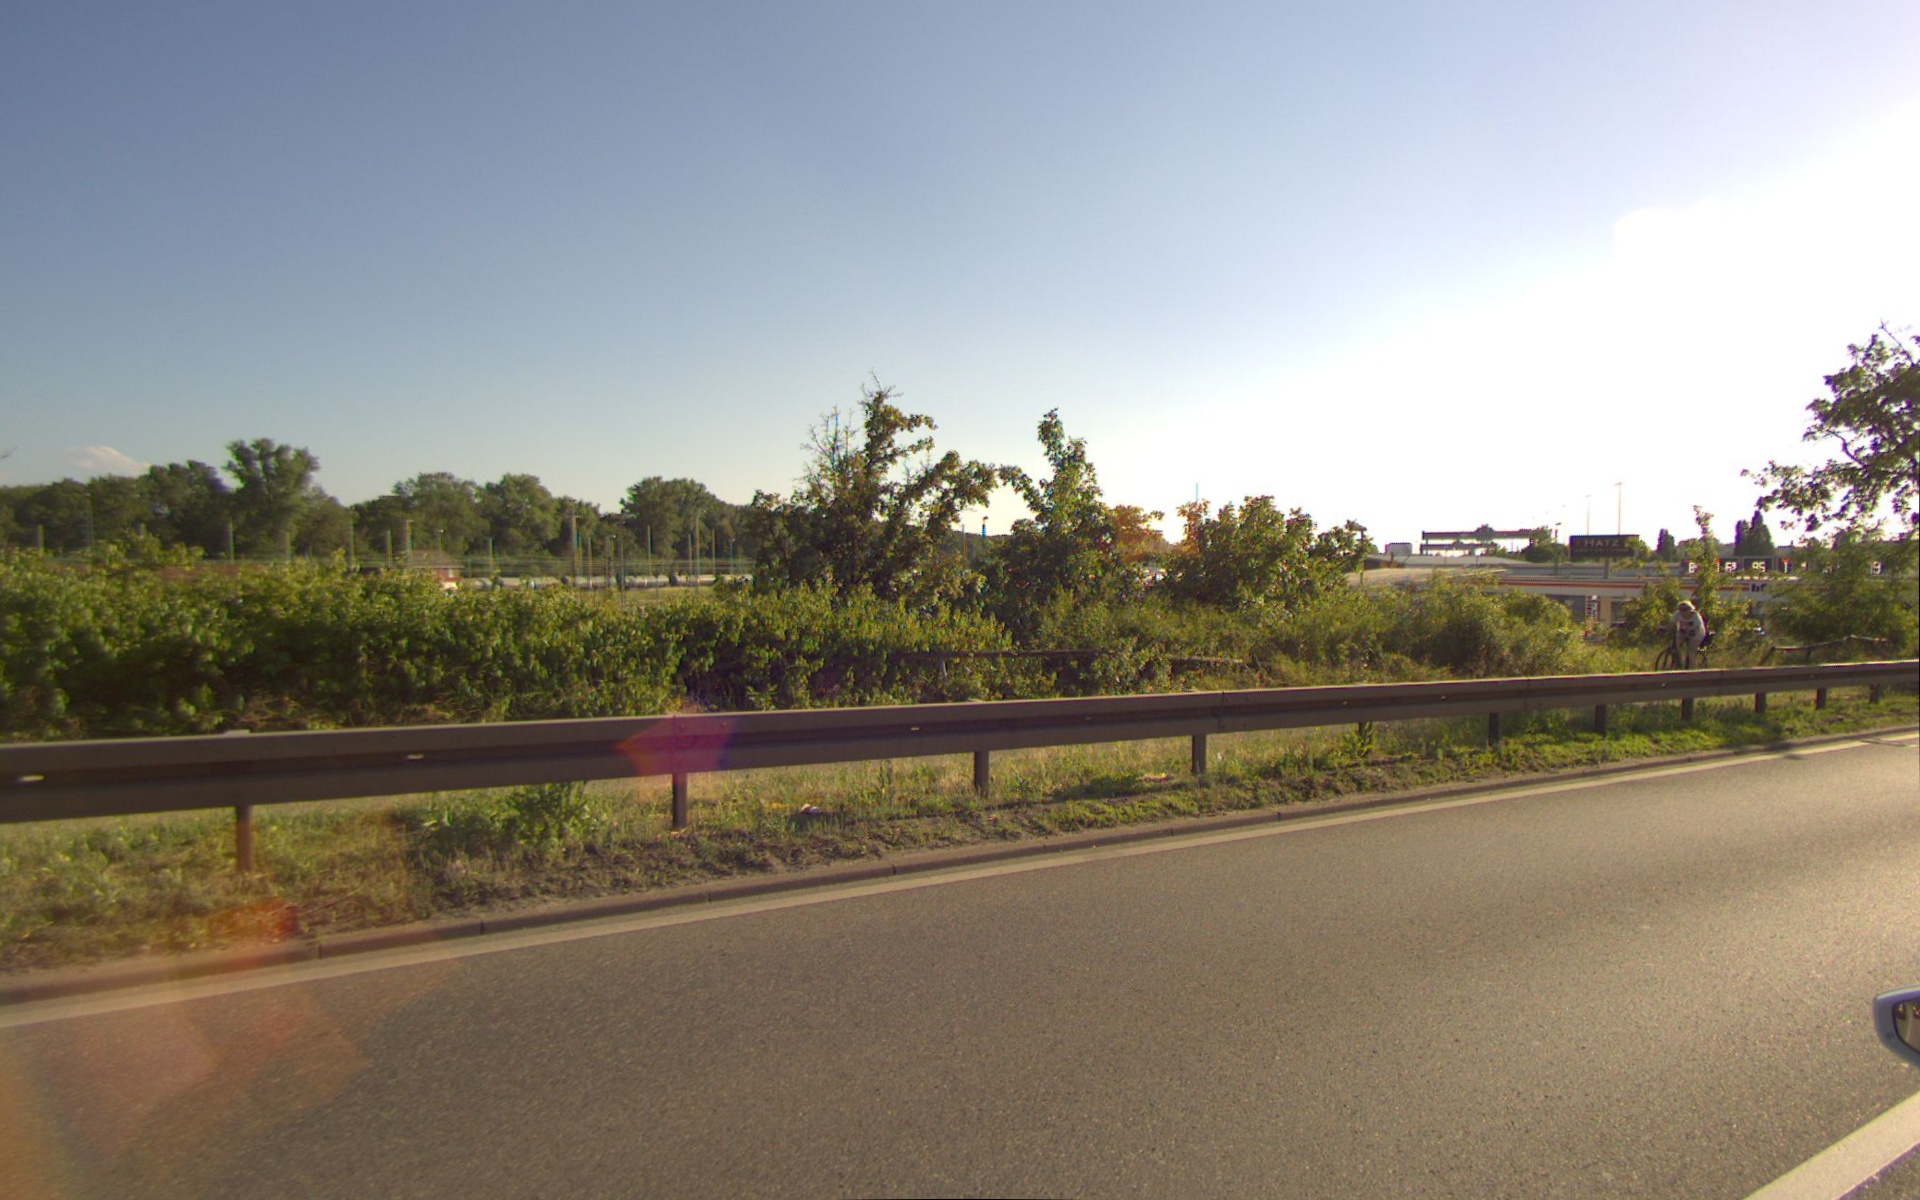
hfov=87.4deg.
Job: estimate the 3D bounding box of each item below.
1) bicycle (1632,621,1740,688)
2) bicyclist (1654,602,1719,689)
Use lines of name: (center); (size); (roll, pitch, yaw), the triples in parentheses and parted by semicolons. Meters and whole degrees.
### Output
bicycle: (12.636, 0.943, 17.466); (2.284, 1.091, 0.580); (2, 0, -29)
bicyclist: (12.637, 0.779, 17.471); (0.818, 1.478, 0.597); (2, 0, -28)
